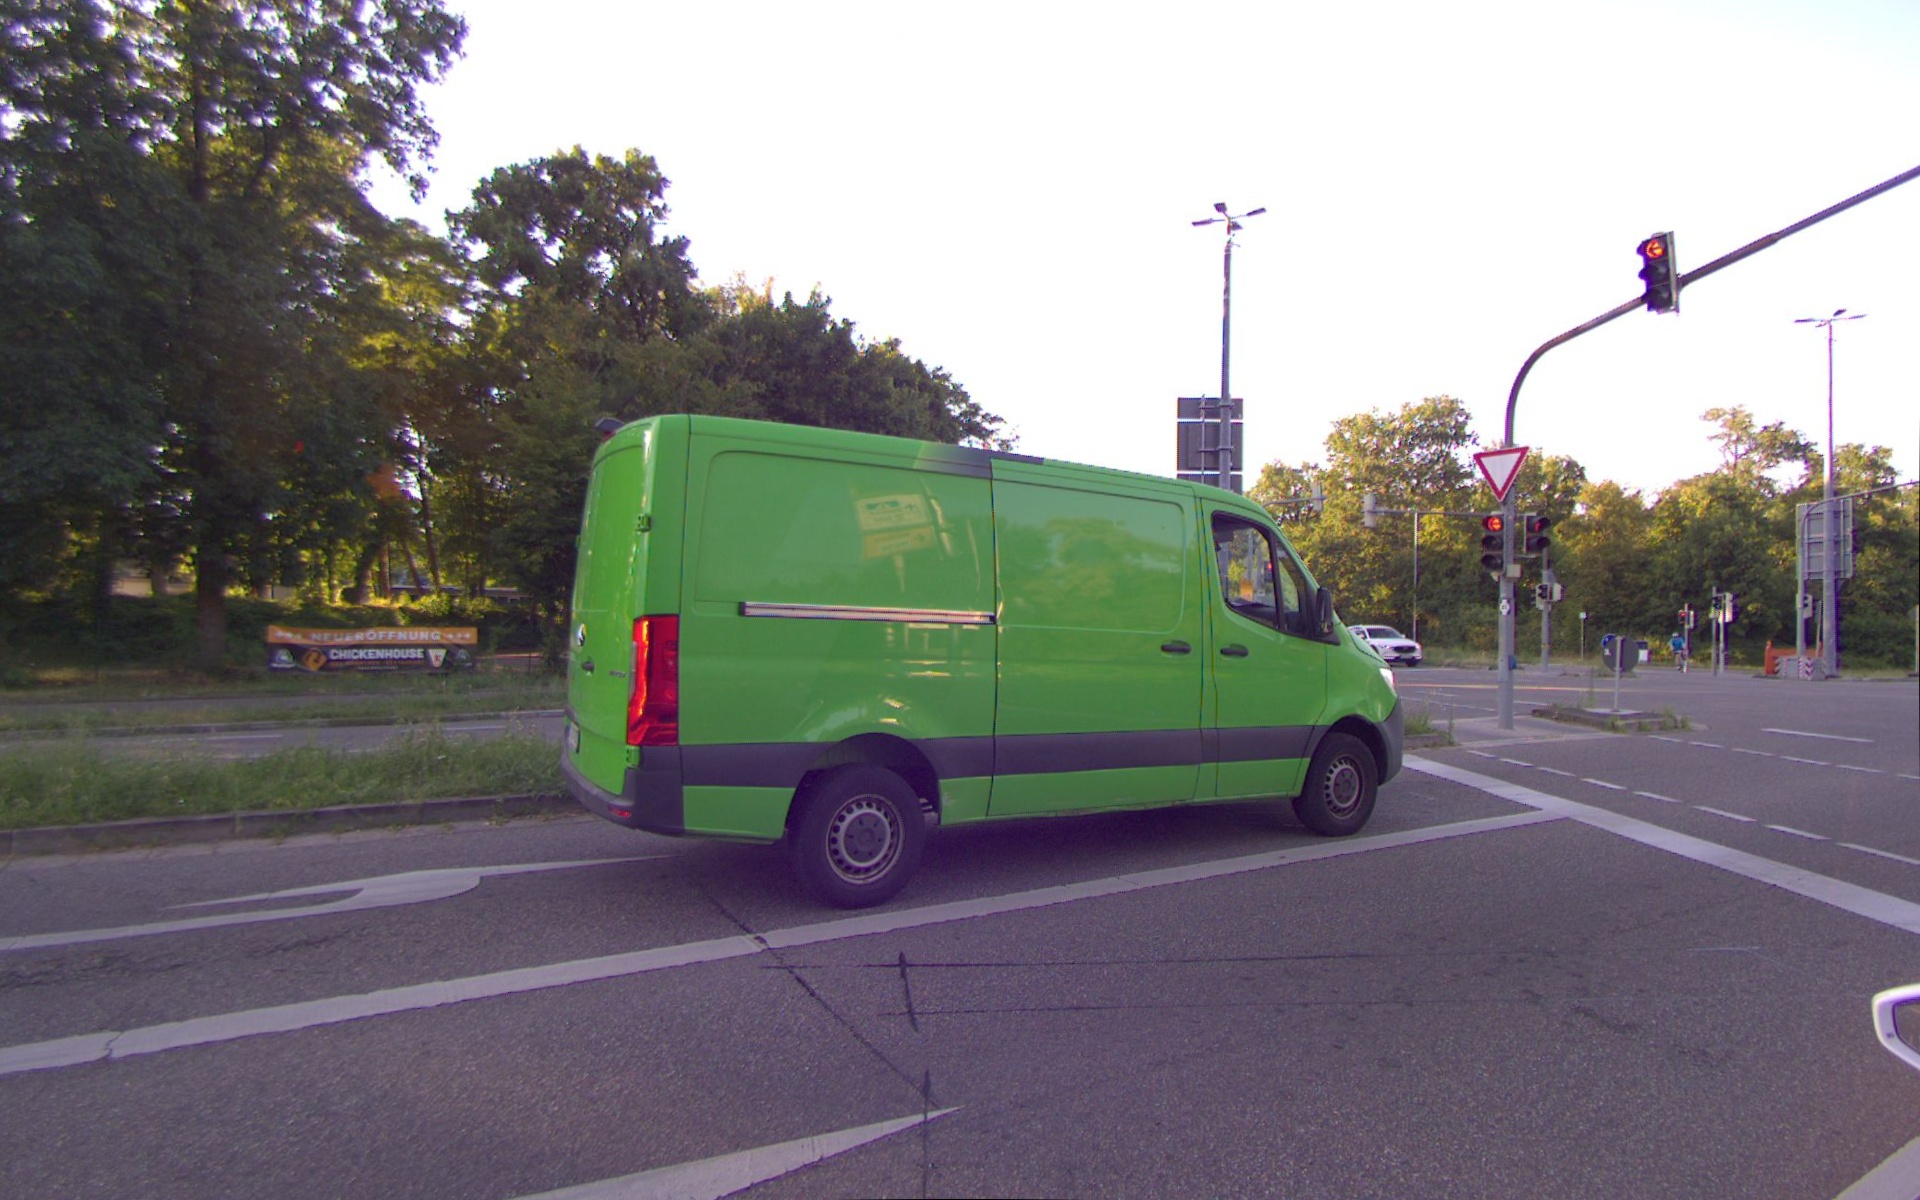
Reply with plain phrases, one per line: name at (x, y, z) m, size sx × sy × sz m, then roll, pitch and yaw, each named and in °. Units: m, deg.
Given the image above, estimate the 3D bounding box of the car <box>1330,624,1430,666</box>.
car at (17.507, 1.848, 42.109) m, size 1.963 × 1.661 × 4.252 m, roll 1°, pitch -1°, yaw -8°

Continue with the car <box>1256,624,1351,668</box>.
car at (13.820, 1.814, 40.702) m, size 1.963 × 1.661 × 4.252 m, roll 1°, pitch -1°, yaw -8°

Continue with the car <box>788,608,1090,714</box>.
car at (-0.270, 0.911, 15.835) m, size 4.451 × 1.460 × 1.881 m, roll 2°, pitch -2°, yaw -32°

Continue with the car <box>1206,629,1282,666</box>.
car at (13.511, 2.226, 48.051) m, size 1.963 × 1.661 × 4.252 m, roll 1°, pitch -1°, yaw -8°

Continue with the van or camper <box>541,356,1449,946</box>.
van or camper at (0.547, 0.290, 6.570) m, size 5.830 × 2.453 × 1.983 m, roll 2°, pitch -1°, yaw -32°

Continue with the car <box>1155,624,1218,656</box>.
car at (12.634, 2.214, 56.192) m, size 1.964 × 1.661 × 4.250 m, roll 1°, pitch -1°, yaw -10°
